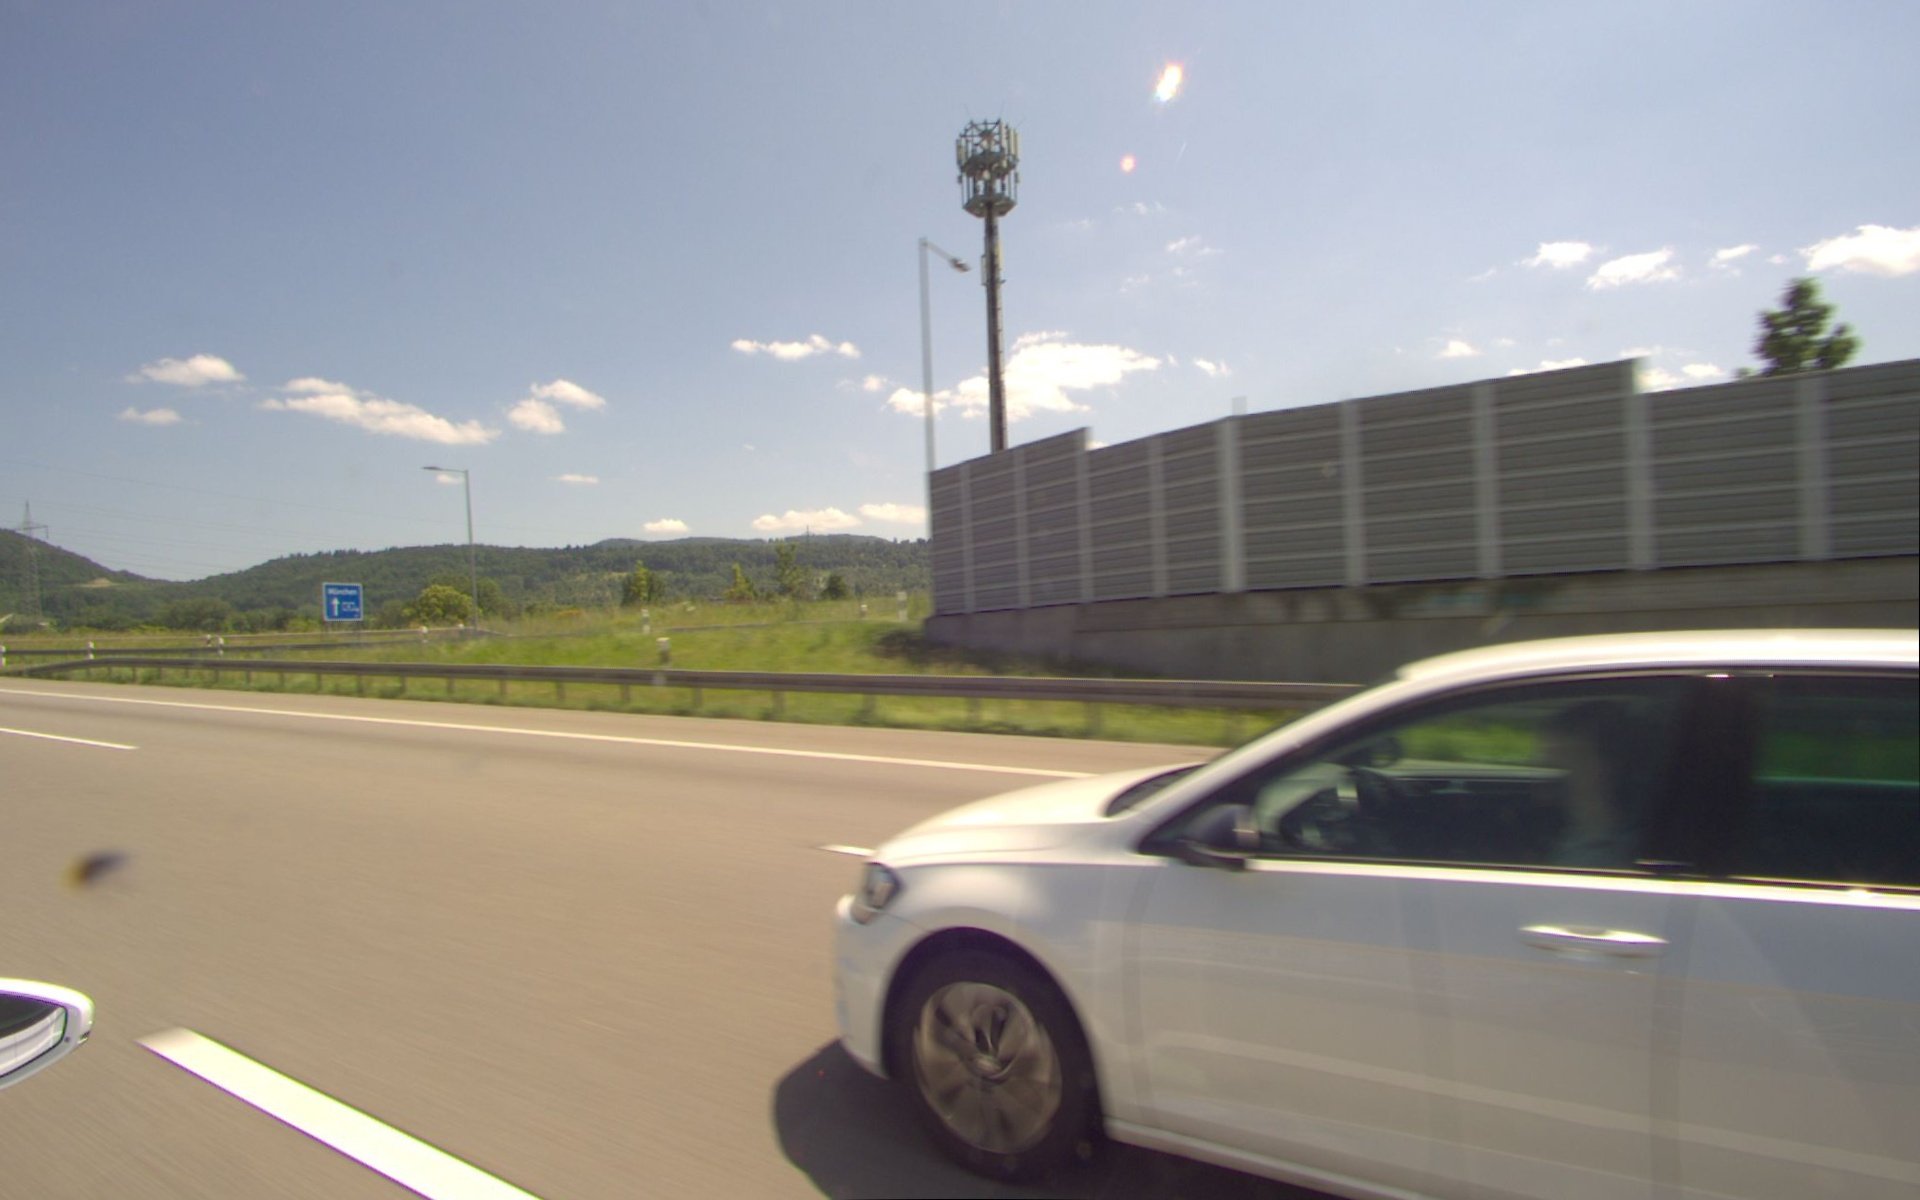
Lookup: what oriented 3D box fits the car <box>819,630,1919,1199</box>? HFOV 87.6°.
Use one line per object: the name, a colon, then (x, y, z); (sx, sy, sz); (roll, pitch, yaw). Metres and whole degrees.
car: (2.012, 0.805, 2.437); (4.624, 1.451, 1.773); (-2, -2, 32)
